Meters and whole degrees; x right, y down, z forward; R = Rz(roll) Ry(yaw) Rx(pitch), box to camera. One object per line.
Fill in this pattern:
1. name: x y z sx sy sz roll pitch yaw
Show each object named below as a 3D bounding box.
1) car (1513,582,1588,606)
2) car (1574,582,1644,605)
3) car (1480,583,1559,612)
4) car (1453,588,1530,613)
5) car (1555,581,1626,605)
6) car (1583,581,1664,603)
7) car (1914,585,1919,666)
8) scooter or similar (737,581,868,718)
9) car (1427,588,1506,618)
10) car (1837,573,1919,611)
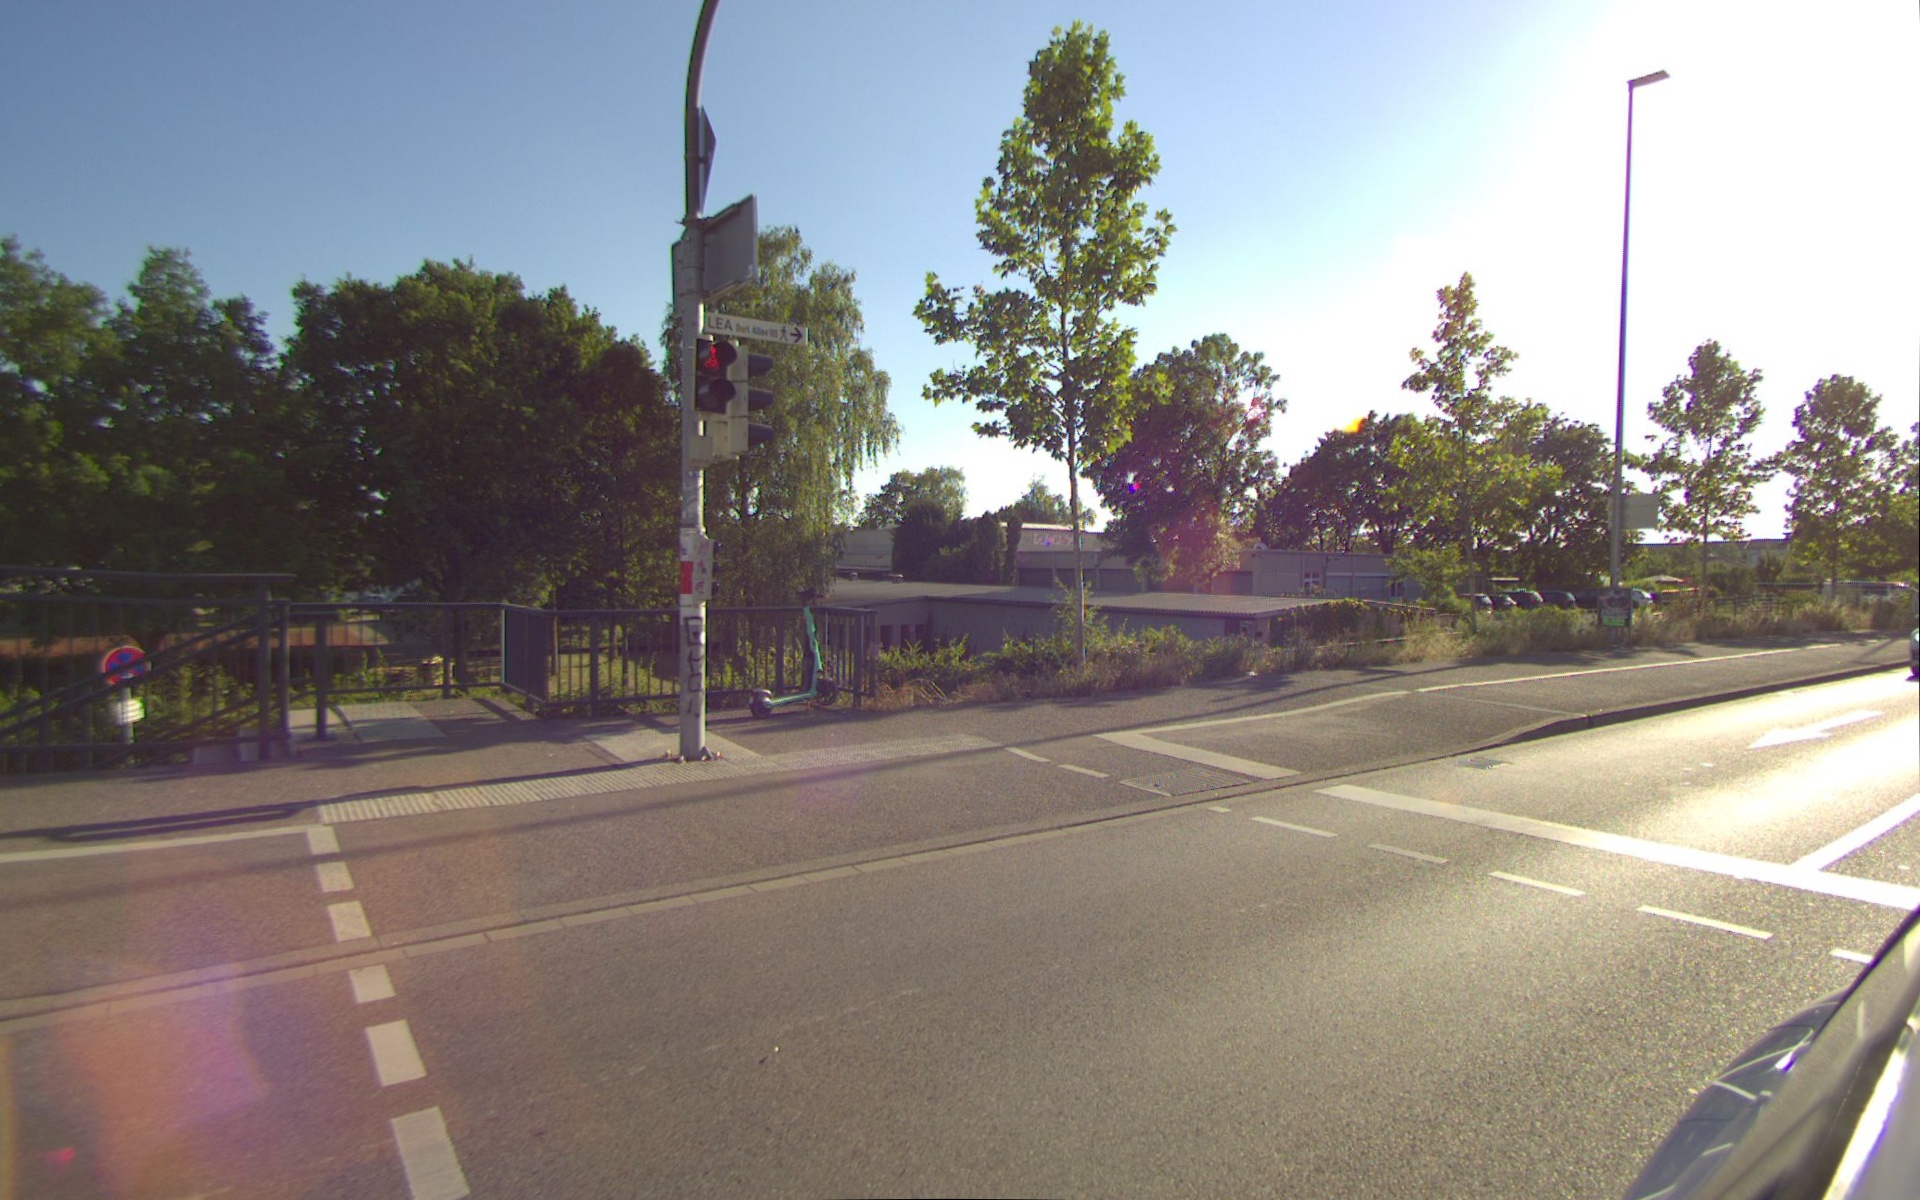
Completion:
1. car: 39.774 -0.384 68.250 1.655 1.606 4.028 0 -1 -39
2. car: 46.158 -0.455 72.034 1.691 1.606 3.838 0 0 -37
3. car: 34.507 -0.168 62.507 1.676 1.687 3.917 -2 1 -39
4. car: 32.014 0.008 61.016 1.710 1.413 3.789 -4 3 -40
5. car: 44.169 -0.475 70.939 1.634 1.661 3.874 0 0 -37
6. car: 48.419 -0.568 73.944 1.825 1.589 4.658 0 0 -39
7. car: 19.145 0.476 18.459 3.905 1.441 1.858 0 1 -36
8. scooter or similar: -1.544 0.448 10.038 0.523 1.246 1.248 2 2 40
9. car: 29.714 0.135 59.467 1.699 1.575 3.790 -4 3 -40
10. car: 52.044 -0.449 55.769 2.065 2.048 5.349 0 -1 -38
